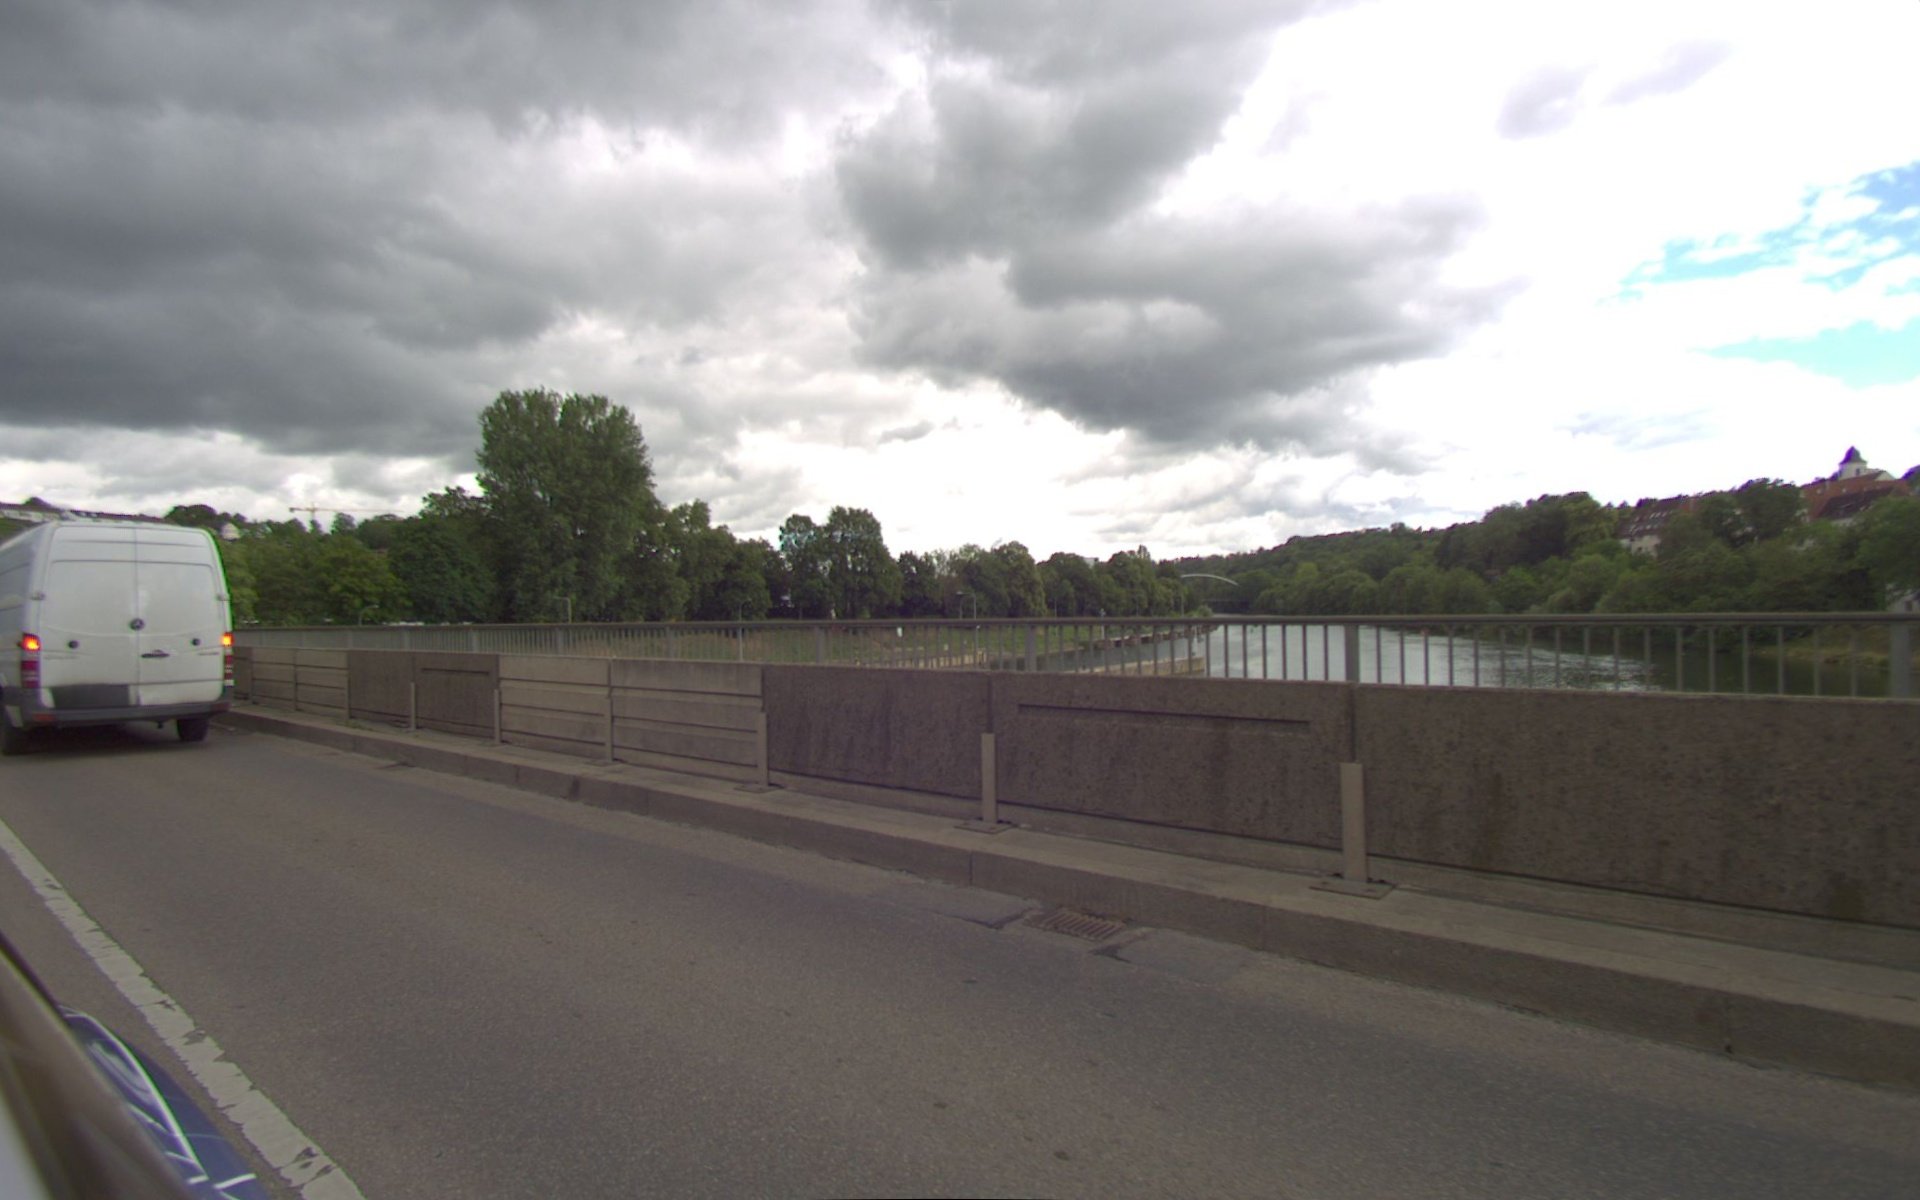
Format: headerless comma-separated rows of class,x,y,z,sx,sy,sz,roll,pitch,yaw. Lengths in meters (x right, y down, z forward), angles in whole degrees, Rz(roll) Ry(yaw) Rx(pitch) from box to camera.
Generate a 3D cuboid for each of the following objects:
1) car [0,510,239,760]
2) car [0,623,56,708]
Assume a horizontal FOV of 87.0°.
car,-11.834,0.479,13.513,7.003,2.581,2.012,-2,-2,41
car,-20.303,1.349,21.051,3.997,1.658,1.698,-2,-3,40
